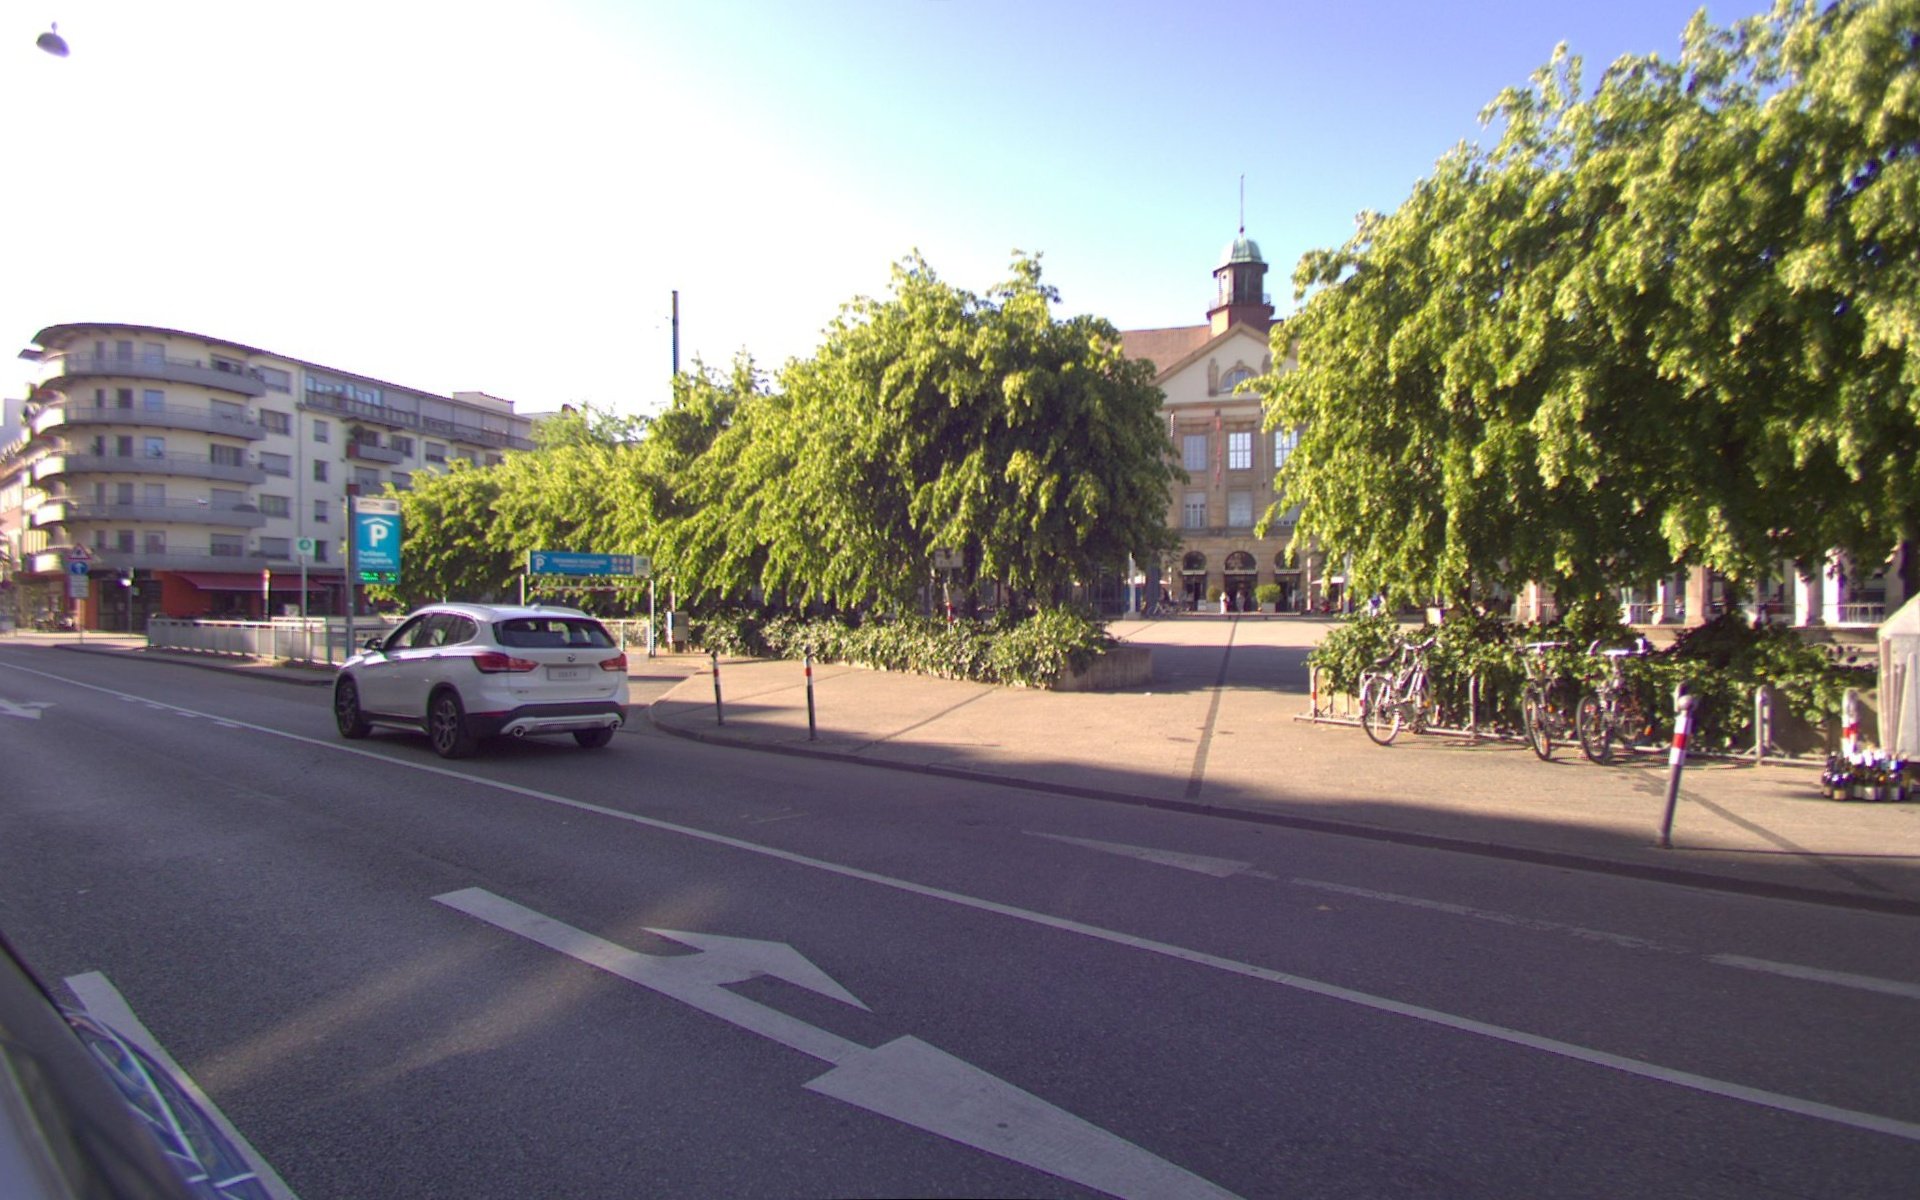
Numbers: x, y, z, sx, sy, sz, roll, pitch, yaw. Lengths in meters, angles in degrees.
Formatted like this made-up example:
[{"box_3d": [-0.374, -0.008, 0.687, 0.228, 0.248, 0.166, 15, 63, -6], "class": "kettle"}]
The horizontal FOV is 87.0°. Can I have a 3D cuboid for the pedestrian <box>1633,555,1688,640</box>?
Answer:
[{"box_3d": [25.530, -0.071, 36.877, 1.528, 3.001, 1.726, -1, -1, 38], "class": "pedestrian"}]

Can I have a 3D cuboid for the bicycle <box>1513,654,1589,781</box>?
[{"box_3d": [5.605, 1.068, 9.561, 0.364, 1.039, 1.530, -1, -1, 40], "class": "bicycle"}]

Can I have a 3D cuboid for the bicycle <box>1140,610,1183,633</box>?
[{"box_3d": [10.200, 1.067, 51.134, 2.087, 1.112, 0.699, 0, -1, -23], "class": "bicycle"}]

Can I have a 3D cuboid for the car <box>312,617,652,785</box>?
[{"box_3d": [-5.513, 0.996, 11.464, 4.236, 1.559, 1.823, -1, -3, 39], "class": "car"}]

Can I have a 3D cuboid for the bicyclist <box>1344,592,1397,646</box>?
[{"box_3d": [12.543, 0.566, 30.956, 0.927, 1.621, 1.173, 0, -1, -31], "class": "bicyclist"}]

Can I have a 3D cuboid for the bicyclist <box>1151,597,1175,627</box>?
[{"box_3d": [10.263, 0.592, 51.184, 0.936, 1.483, 0.649, -1, 0, -23], "class": "bicyclist"}]

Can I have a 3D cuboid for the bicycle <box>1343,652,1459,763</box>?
[{"box_3d": [4.644, 1.095, 10.624, 1.506, 1.039, 0.365, 0, -1, -35], "class": "bicycle"}]

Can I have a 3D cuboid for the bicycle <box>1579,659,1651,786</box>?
[{"box_3d": [6.097, 1.092, 9.394, 0.364, 1.010, 1.540, -1, -1, 40], "class": "bicycle"}]

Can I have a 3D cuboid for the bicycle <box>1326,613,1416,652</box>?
[{"box_3d": [12.530, 0.964, 30.953, 0.927, 1.141, 2.486, 0, -1, -31], "class": "bicycle"}]
